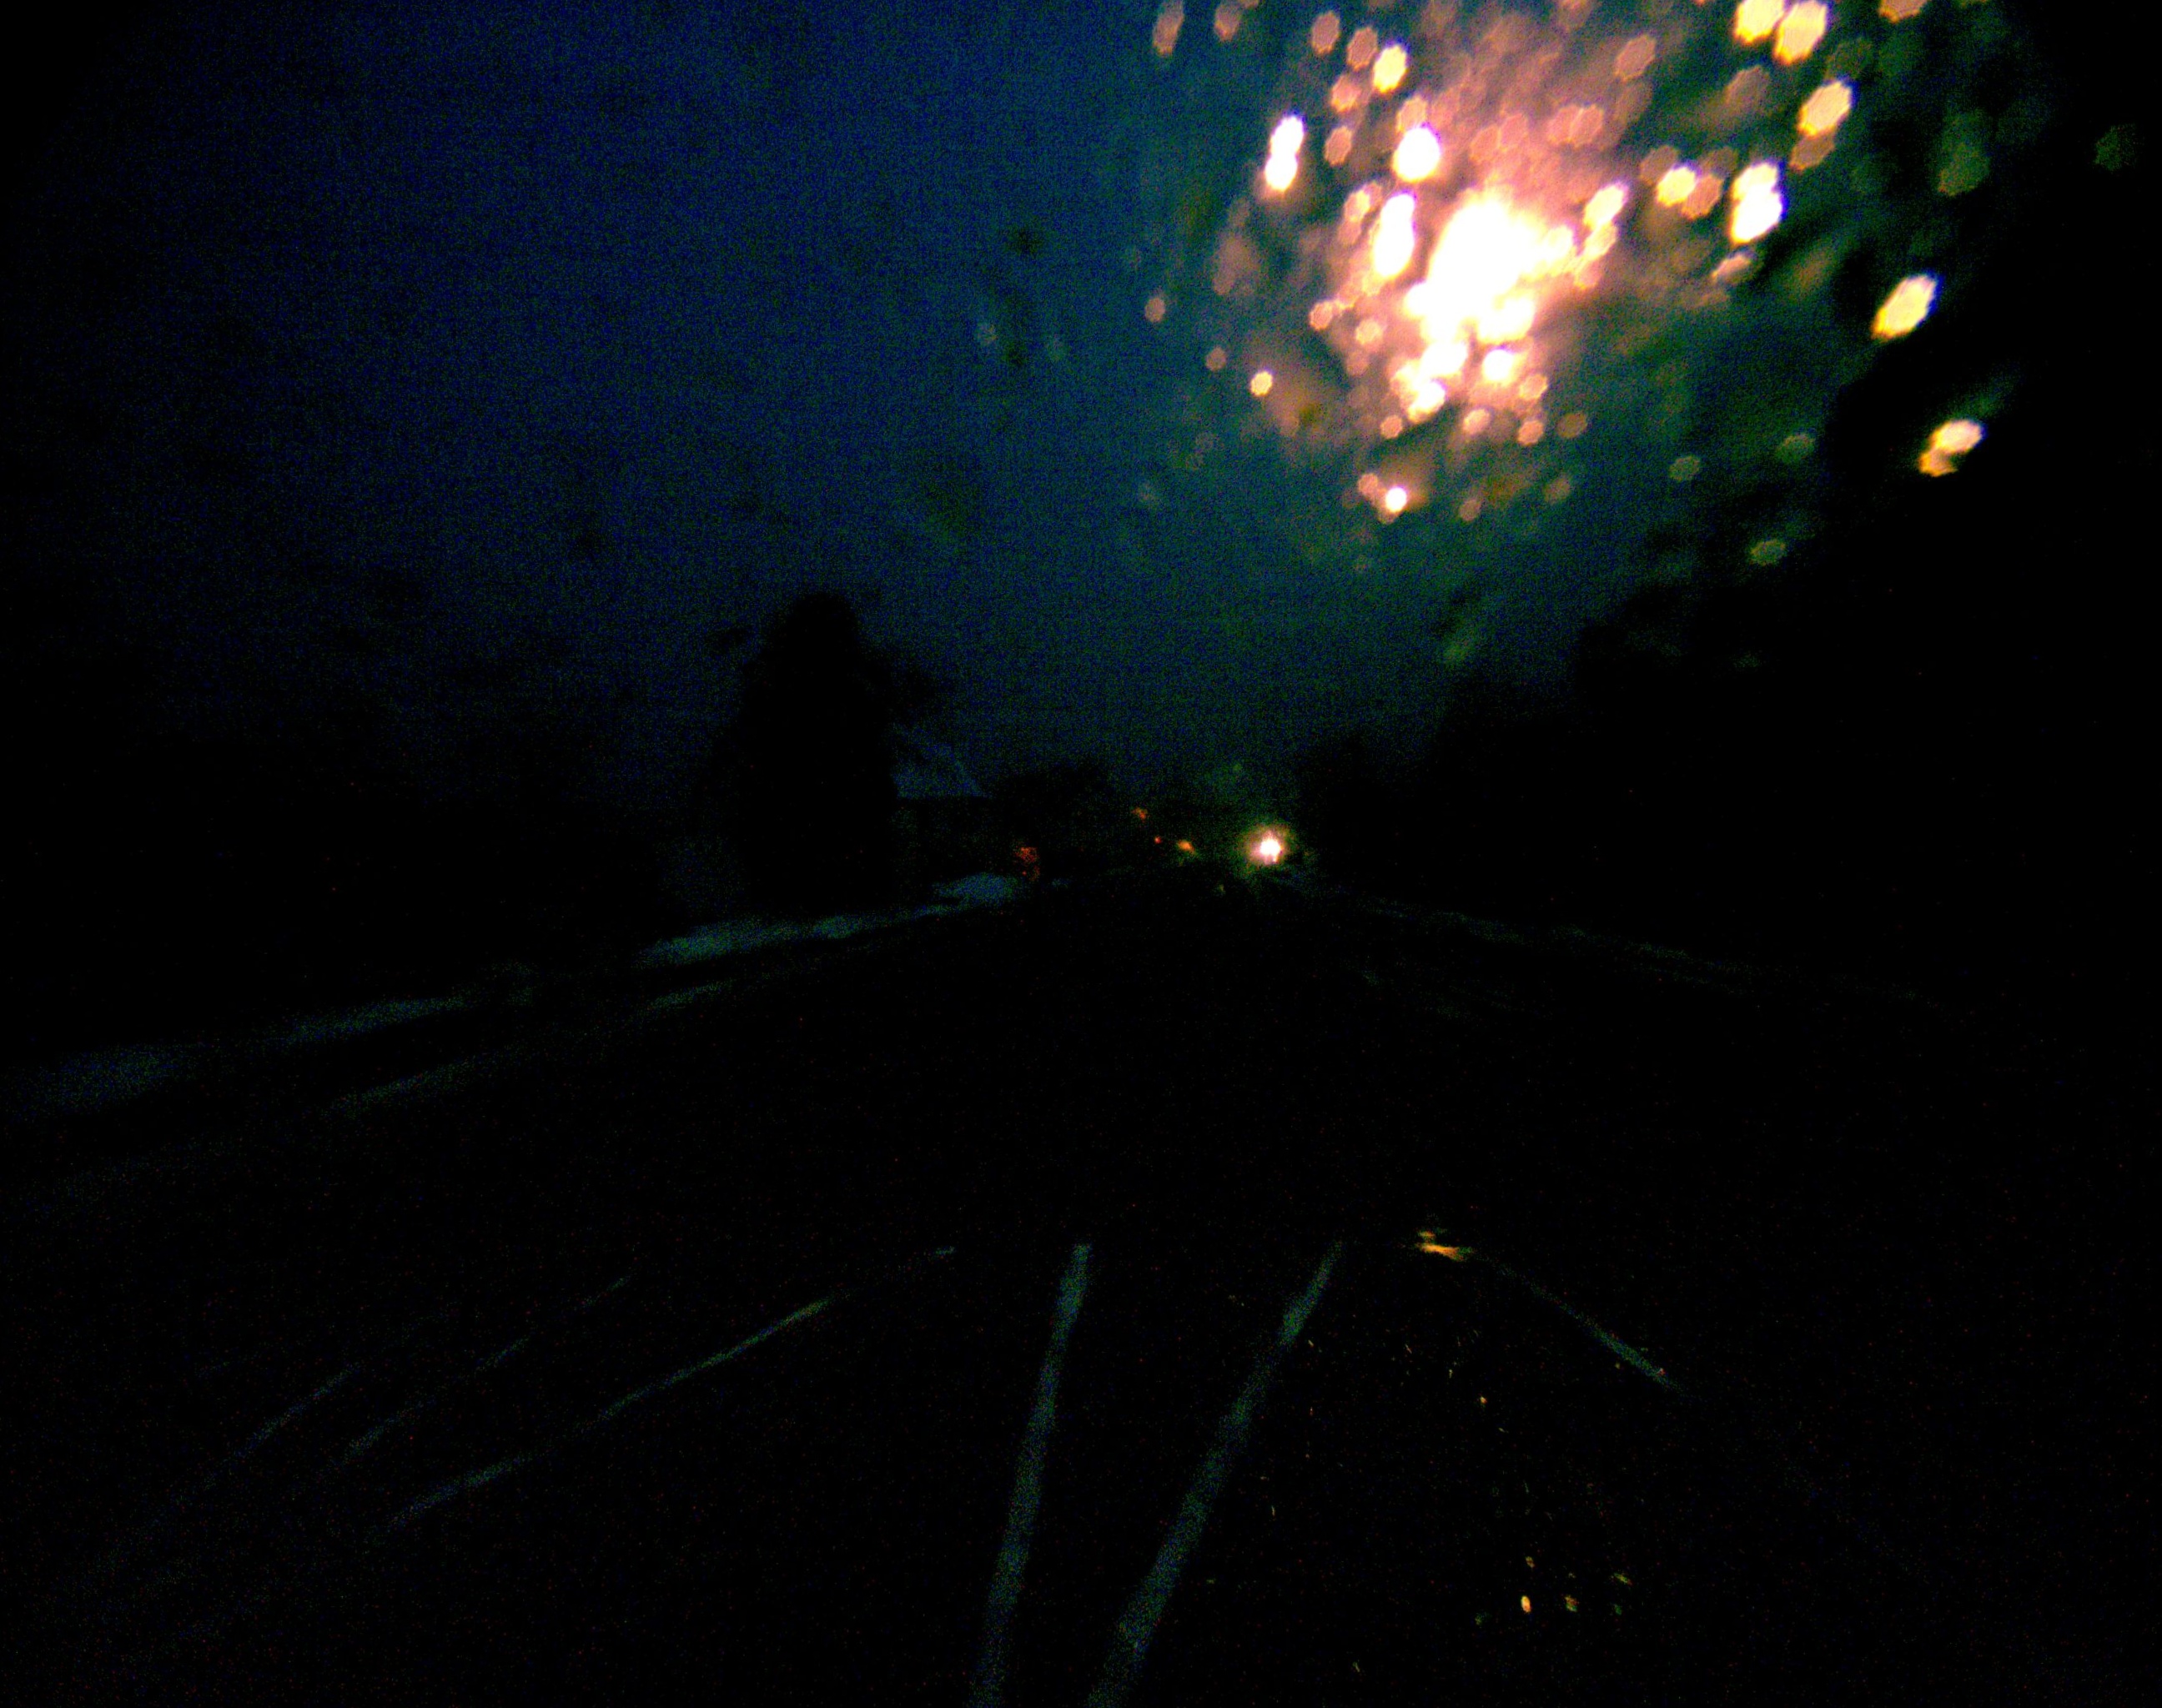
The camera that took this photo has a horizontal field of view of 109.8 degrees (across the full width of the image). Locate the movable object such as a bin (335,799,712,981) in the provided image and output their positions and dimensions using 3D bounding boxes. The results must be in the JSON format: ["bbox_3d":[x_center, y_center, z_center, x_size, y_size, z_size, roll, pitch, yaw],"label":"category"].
[{"bbox_3d":[-8.779,0.467,12.659,2.391,2.455,4.518,-2,1,11],"label":"movable object such as a bin"}]

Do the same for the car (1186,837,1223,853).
[{"bbox_3d":[15.661,-1.119,96.366,4.207,1.848,1.914,1,4,34],"label":"car"}]

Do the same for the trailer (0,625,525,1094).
[{"bbox_3d":[-9.413,0.025,8.069,2.881,3.540,5.062,-2,1,5],"label":"trailer"}]
